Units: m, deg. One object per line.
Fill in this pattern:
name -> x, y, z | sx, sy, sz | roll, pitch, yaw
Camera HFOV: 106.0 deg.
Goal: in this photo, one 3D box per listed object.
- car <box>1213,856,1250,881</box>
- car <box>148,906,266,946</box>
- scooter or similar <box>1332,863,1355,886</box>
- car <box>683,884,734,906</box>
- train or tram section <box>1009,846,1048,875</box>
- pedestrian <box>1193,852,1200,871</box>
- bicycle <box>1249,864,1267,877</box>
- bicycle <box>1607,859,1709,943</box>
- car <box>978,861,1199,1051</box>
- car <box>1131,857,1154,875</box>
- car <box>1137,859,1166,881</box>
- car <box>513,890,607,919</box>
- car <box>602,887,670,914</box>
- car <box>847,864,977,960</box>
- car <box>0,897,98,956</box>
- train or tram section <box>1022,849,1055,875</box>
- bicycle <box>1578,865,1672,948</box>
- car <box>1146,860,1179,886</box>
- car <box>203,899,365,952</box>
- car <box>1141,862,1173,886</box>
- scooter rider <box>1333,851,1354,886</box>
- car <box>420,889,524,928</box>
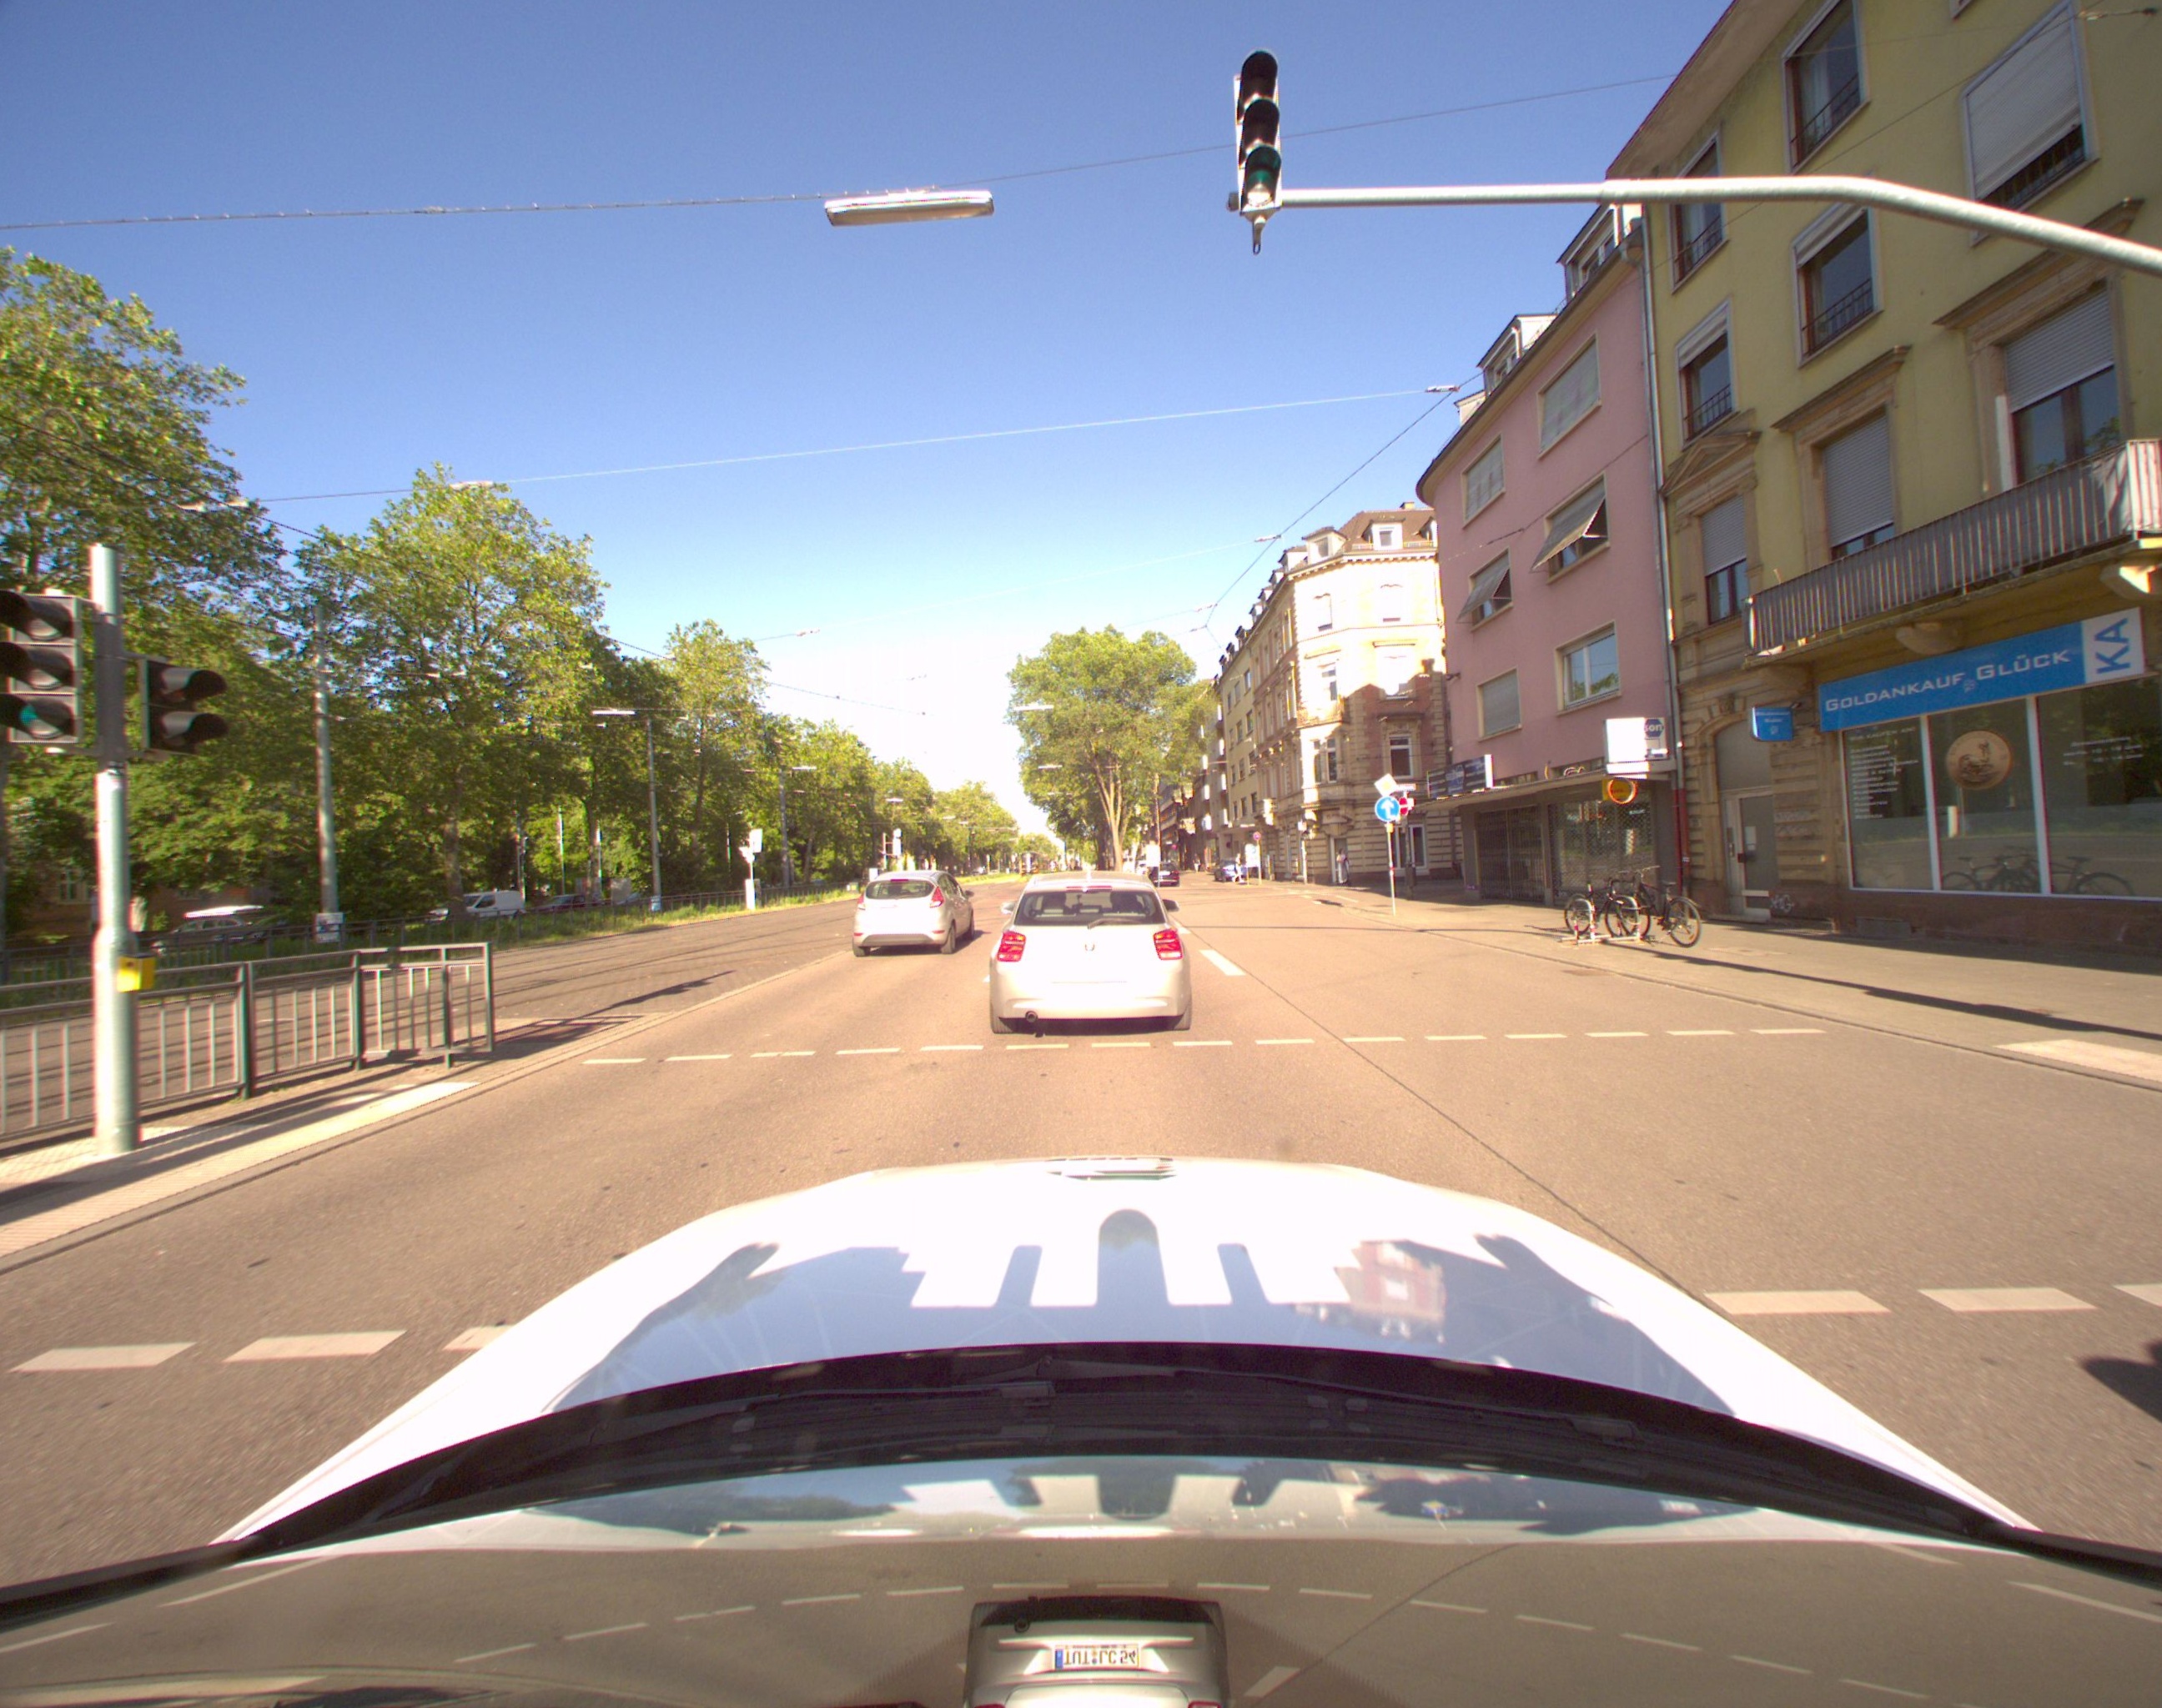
car -> 9.763, 0.928, 53.085 | 1.729, 1.519, 3.637 | -1, -1, 1
car -> -39.053, 3.217, 36.412 | 3.968, 1.494, 1.395 | -3, -1, 5
scooter or similar -> 11.575, 0.916, 35.937 | 0.338, 0.988, 1.278 | -3, 0, -14
car -> -28.474, 3.143, 62.410 | 1.930, 1.509, 4.278 | -2, -2, 0
train or tram section -> -7.467, 0.927, 119.928 | 3.954, 3.866, 17.494 | -2, -1, 2
pedestrian -> 11.419, 0.749, 80.314 | 0.503, 1.802, 0.806 | -3, -1, 1
bicycle -> 11.591, 1.054, 53.288 | 0.752, 0.770, 1.945 | -2, -1, 0
bicycle -> 8.721, 0.671, 12.382 | 0.446, 1.159, 1.762 | -3, 0, 7
car -> 0.111, 0.829, 8.454 | 1.734, 1.467, 4.001 | -1, 0, 1
car -> 5.345, 1.037, 71.274 | 1.719, 1.507, 3.554 | -1, -1, 0
car -> 5.012, 1.145, 58.439 | 1.719, 1.507, 3.554 | -1, -1, 0
car -> -28.022, 2.685, 44.028 | 1.930, 1.349, 4.848 | -2, -2, 0
car -> -28.217, 2.946, 51.850 | 1.930, 1.509, 4.278 | -2, -2, 0
car -> -2.989, 0.962, 15.160 | 1.604, 1.467, 3.888 | -3, 0, -1
car -> -40.870, 2.792, 30.969 | 1.986, 2.013, 4.001 | -3, -1, 1
train or tram section -> -6.937, 1.294, 137.473 | 3.990, 3.866, 17.494 | -2, -1, 2
bicycle -> 8.227, 0.753, 12.395 | 0.411, 1.141, 1.813 | -2, 0, 8
car -> 4.716, 1.086, 47.260 | 1.728, 1.433, 3.681 | -1, -1, 3
car -> -28.211, 2.480, 29.037 | 1.664, 1.509, 4.144 | -3, -1, 0
car -> 4.854, 1.252, 52.648 | 1.738, 1.433, 3.554 | -1, -1, 0
scooter rider -> 11.604, 0.635, 35.972 | 0.466, 1.505, 0.807 | -3, -1, -15
car -> -28.243, 2.489, 37.961 | 1.664, 1.509, 4.144 | -2, -1, 0
